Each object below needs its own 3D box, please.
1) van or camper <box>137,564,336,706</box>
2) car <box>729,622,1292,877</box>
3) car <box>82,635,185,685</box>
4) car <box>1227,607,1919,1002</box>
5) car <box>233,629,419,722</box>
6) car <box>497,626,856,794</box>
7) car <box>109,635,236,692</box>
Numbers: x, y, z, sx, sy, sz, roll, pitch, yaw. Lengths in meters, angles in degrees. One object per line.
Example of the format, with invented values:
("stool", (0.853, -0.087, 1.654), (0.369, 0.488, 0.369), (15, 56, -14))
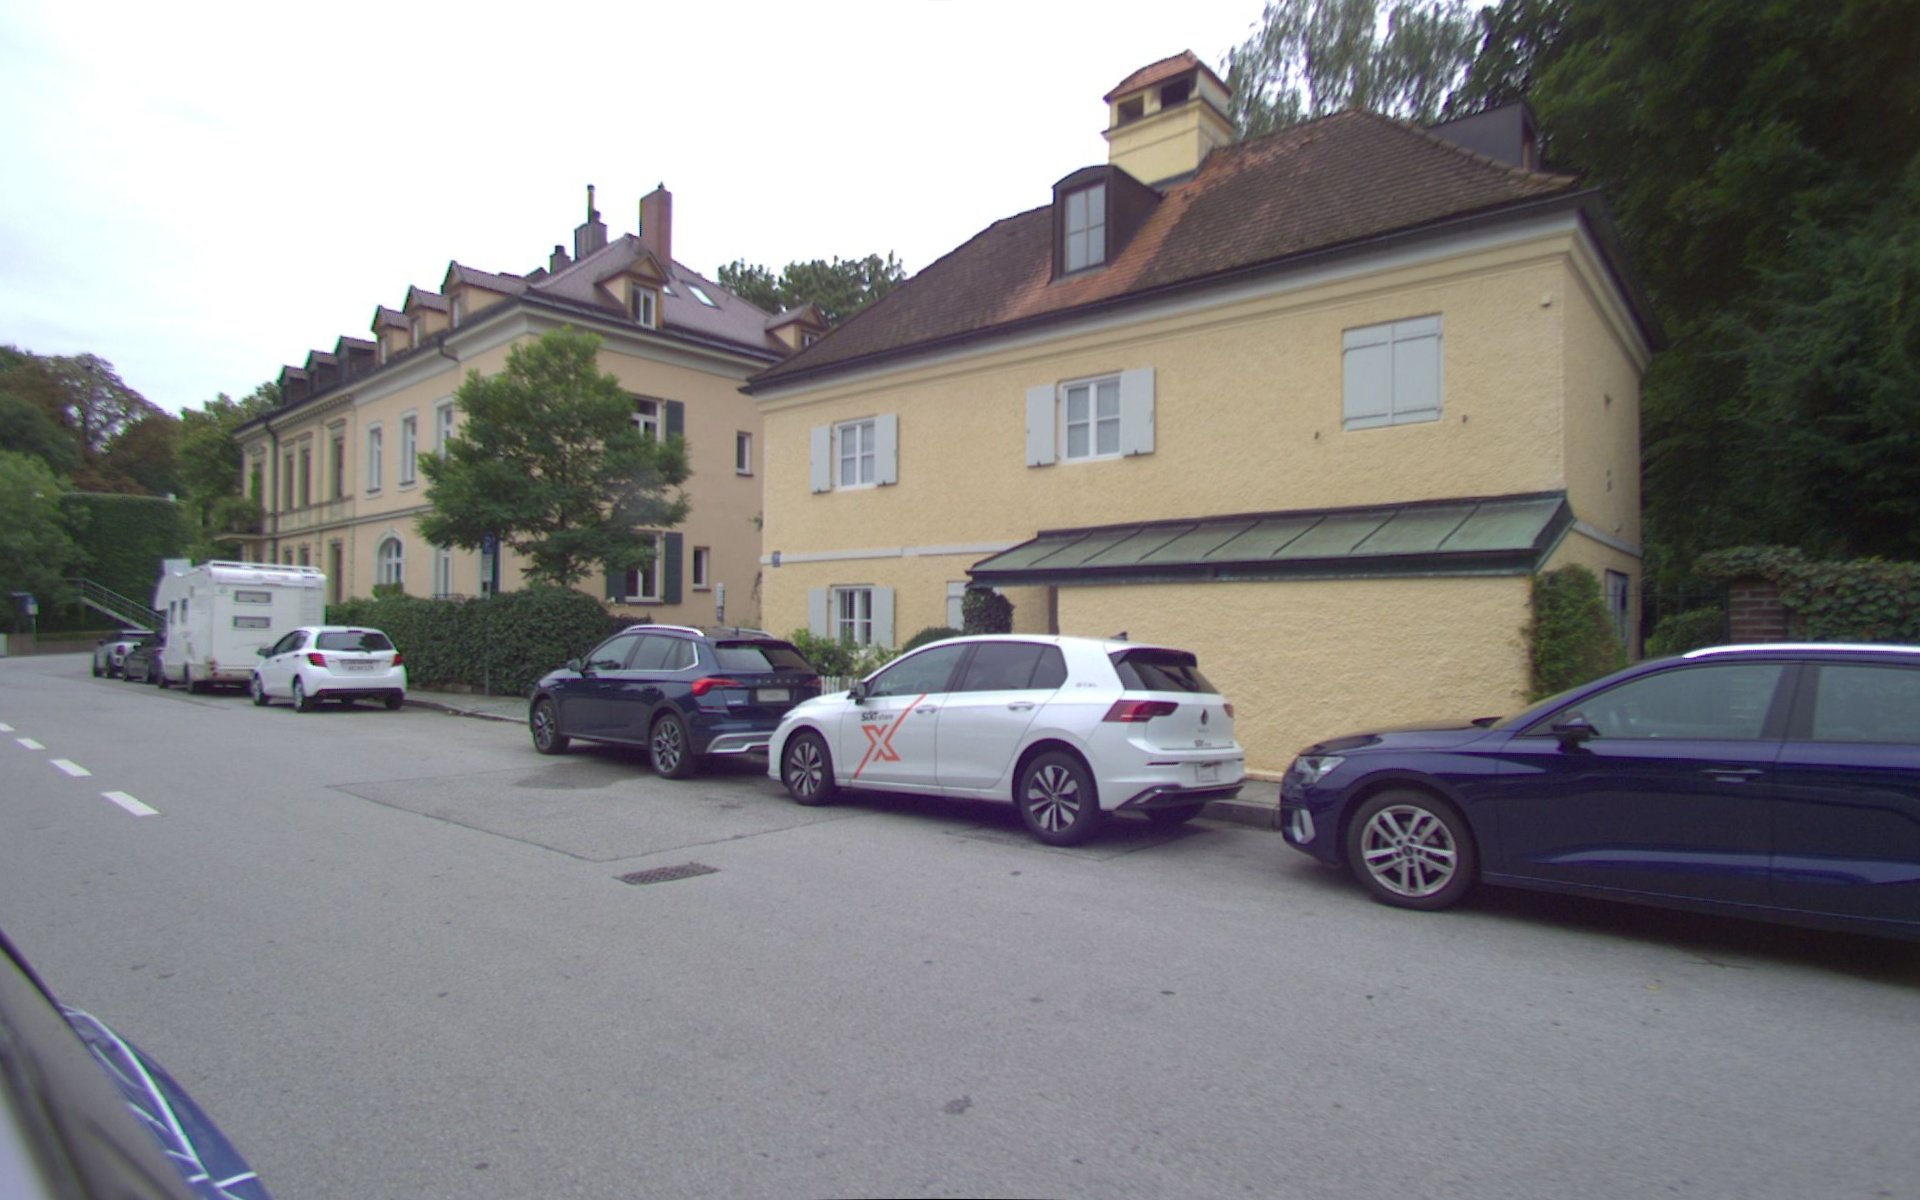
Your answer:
("van or camper", (-17.649, 0.871, 24.481), (7.211, 2.963, 2.428), (-2, -4, 43))
("car", (0.203, 1.023, 8.386), (4.519, 1.547, 1.825), (-2, -5, 42))
("car", (-27.158, 1.952, 33.206), (4.530, 1.547, 1.915), (-2, -5, 43))
("car", (3.874, 0.875, 5.118), (4.558, 1.547, 1.826), (-2, -5, 40))
("car", (-11.921, 1.361, 18.928), (4.226, 1.547, 1.759), (-2, -5, 42))
("car", (-3.384, 1.117, 11.603), (4.440, 1.547, 1.825), (-1, -4, 42))
("car", (-22.811, 1.805, 29.262), (4.819, 1.520, 1.916), (-2, -5, 41))
